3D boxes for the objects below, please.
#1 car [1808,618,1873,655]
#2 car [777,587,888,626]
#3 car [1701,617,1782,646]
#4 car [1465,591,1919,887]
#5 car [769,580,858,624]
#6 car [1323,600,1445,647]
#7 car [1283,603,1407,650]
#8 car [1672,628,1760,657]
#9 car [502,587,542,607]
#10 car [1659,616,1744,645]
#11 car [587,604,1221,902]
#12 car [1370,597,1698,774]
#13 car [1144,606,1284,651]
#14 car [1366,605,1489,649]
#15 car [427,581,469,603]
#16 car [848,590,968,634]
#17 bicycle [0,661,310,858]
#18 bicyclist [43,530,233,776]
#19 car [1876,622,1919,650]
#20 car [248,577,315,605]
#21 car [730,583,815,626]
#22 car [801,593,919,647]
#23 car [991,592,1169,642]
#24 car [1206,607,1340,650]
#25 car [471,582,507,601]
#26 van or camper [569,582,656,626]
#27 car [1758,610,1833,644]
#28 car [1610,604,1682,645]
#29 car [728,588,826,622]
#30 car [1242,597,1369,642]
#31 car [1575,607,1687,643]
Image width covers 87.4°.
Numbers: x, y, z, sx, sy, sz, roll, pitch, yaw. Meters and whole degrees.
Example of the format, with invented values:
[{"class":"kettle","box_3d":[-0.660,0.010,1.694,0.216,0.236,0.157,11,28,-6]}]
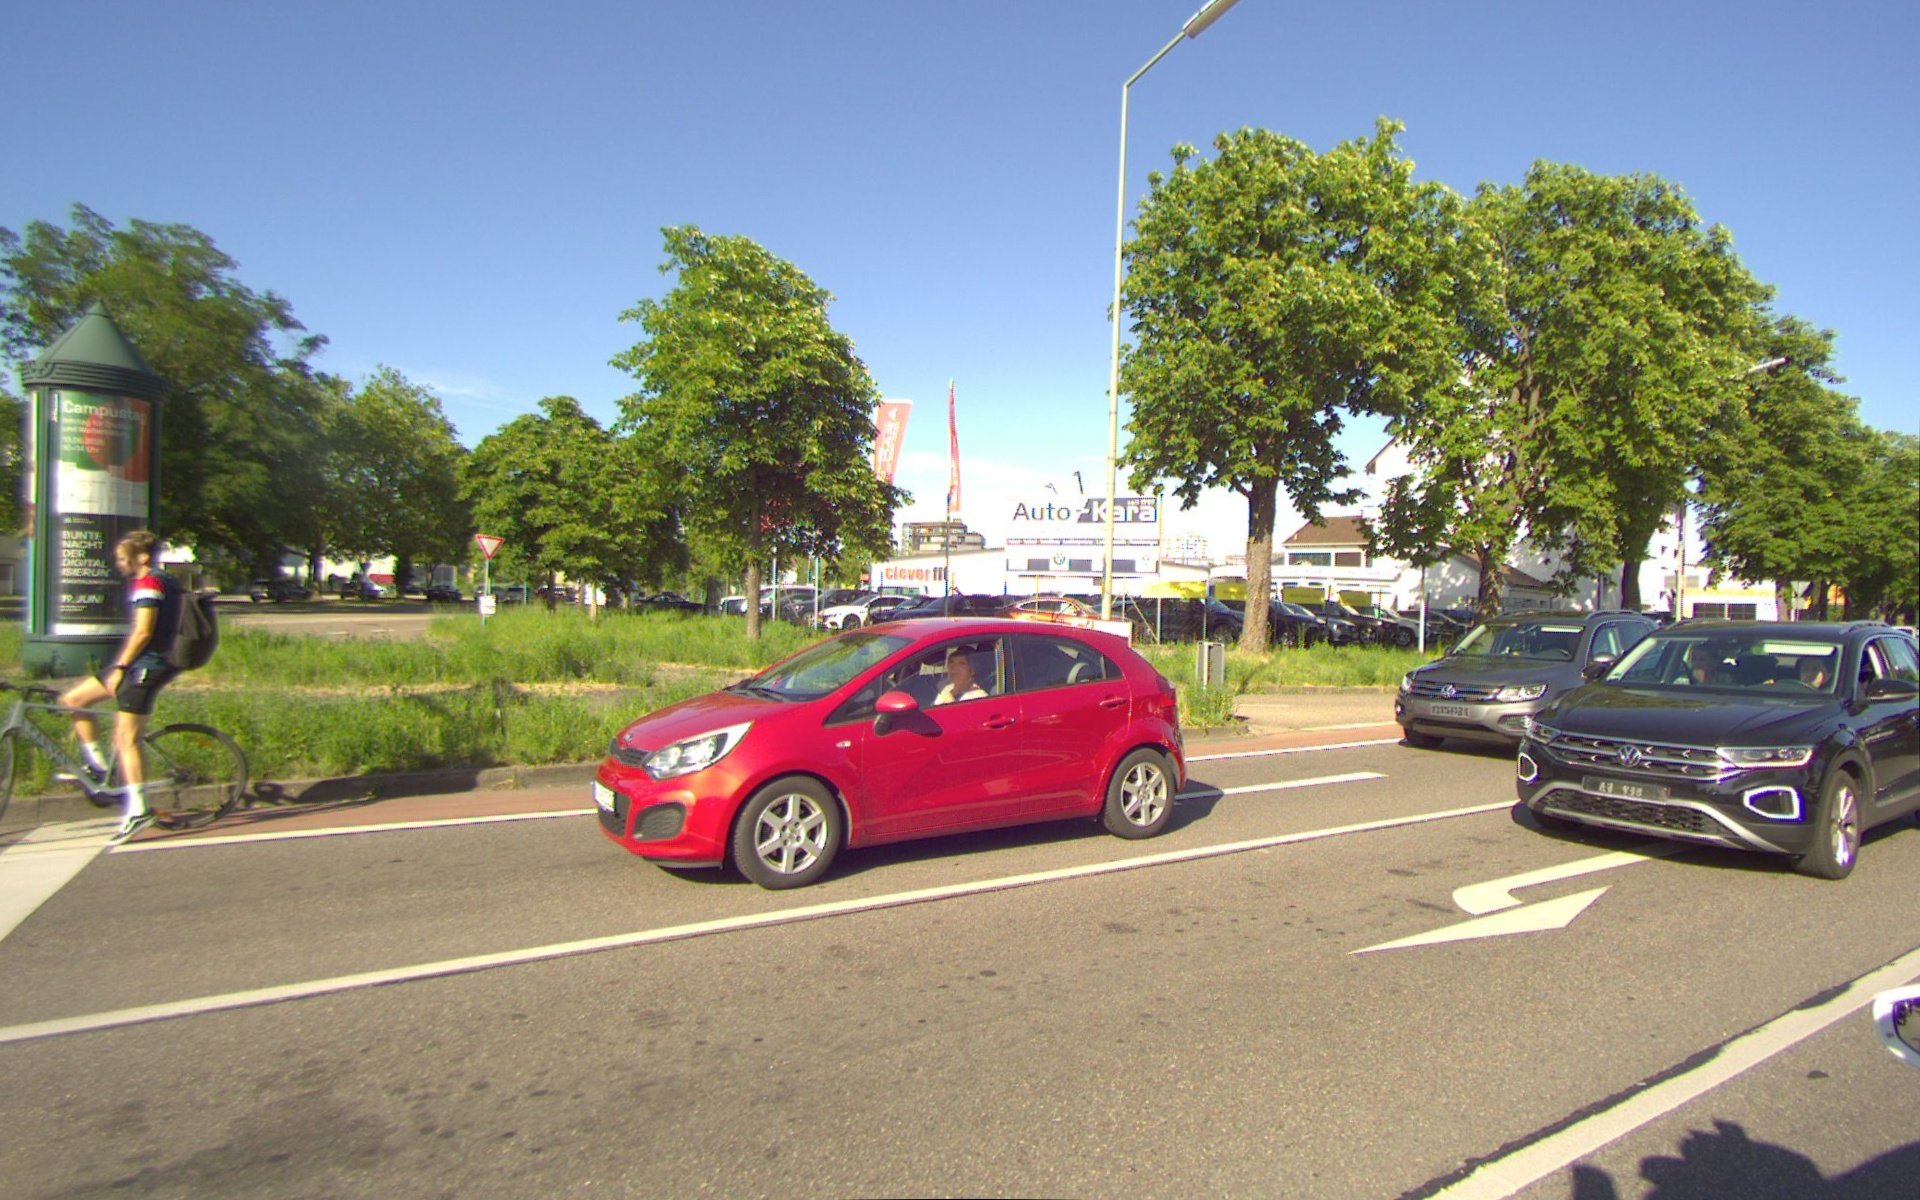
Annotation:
[{"class":"car","box_3d":[45.811,1.859,52.232,5.200,1.752,2.018,1,1,-43]},{"class":"car","box_3d":[-5.081,0.262,40.184,3.955,1.460,1.983,2,0,-32]},{"class":"car","box_3d":[49.517,1.978,63.666,3.954,1.605,1.888,2,1,42]},{"class":"car","box_3d":[5.748,0.801,7.381,3.957,1.620,1.902,2,0,-33]},{"class":"car","box_3d":[-7.104,0.101,48.671,3.938,2.040,1.991,1,0,-19]},{"class":"car","box_3d":[16.435,0.874,39.011,3.941,1.632,1.912,2,1,41]},{"class":"car","box_3d":[14.282,0.937,37.284,3.932,1.581,1.994,2,1,34]},{"class":"car","box_3d":[45.289,2.531,60.249,3.926,1.619,1.997,0,0,28]},{"class":"car","box_3d":[-35.782,-0.287,82.147,1.964,1.469,3.994,3,1,-8]},{"class":"car","box_3d":[43.009,1.741,58.350,3.598,1.530,1.784,1,1,22]},{"class":"car","box_3d":[-0.279,0.794,6.688,3.849,1.433,1.774,2,0,-33]},{"class":"car","box_3d":[6.993,0.876,12.106,4.228,1.759,1.840,0,1,-36]},{"class":"car","box_3d":[8.096,0.874,32.063,3.866,1.257,2.038,1,1,34]},{"class":"car","box_3d":[19.075,1.047,41.021,4.332,1.596,1.809,1,1,32]},{"class":"car","box_3d":[-40.969,-0.653,80.484,1.706,1.640,3.994,3,1,-8]},{"class":"car","box_3d":[-1.839,0.428,36.080,3.955,1.481,1.730,2,0,-32]},{"class":"bicycle","box_3d":[-5.393,0.952,6.304,2.172,1.030,0.932,1,1,-32]},{"class":"bicyclist","box_3d":[-5.190,0.305,6.411,0.813,1.420,0.928,1,1,-32]},{"class":"car","box_3d":[71.475,2.732,76.499,4.220,2.018,1.908,1,1,-39]},{"class":"car","box_3d":[-44.920,-0.599,66.603,1.972,1.820,3.997,1,1,-4]},{"class":"car","box_3d":[-9.449,0.220,50.587,3.939,2.041,1.991,1,1,-20]},{"class":"car","box_3d":[-3.767,0.762,37.950,3.955,1.911,1.983,1,0,-32]},{"class":"car","box_3d":[3.699,0.484,30.759,4.961,1.327,2.360,1,1,21]},{"class":"car","box_3d":[10.468,0.905,33.616,3.866,1.257,2.038,1,1,34]},{"class":"car","box_3d":[-40.619,-0.734,86.668,1.838,1.459,3.478,3,1,-8]},{"class":"van or camper","box_3d":[-21.746,0.313,63.232,2.553,2.617,6.615,1,-1,6]},{"class":"car","box_3d":[39.423,1.276,47.351,4.924,1.483,2.019,1,0,-42]},{"class":"car","box_3d":[34.706,1.225,50.763,5.063,1.956,1.732,1,0,-41]},{"class":"car","box_3d":[-8.193,0.217,44.986,3.947,1.427,1.827,1,1,-26]},{"class":"car","box_3d":[12.183,0.666,35.496,3.817,1.431,1.939,2,1,36]},{"class":"car","box_3d":[30.401,1.132,45.557,1.896,1.448,3.946,3,-1,-45]}]
